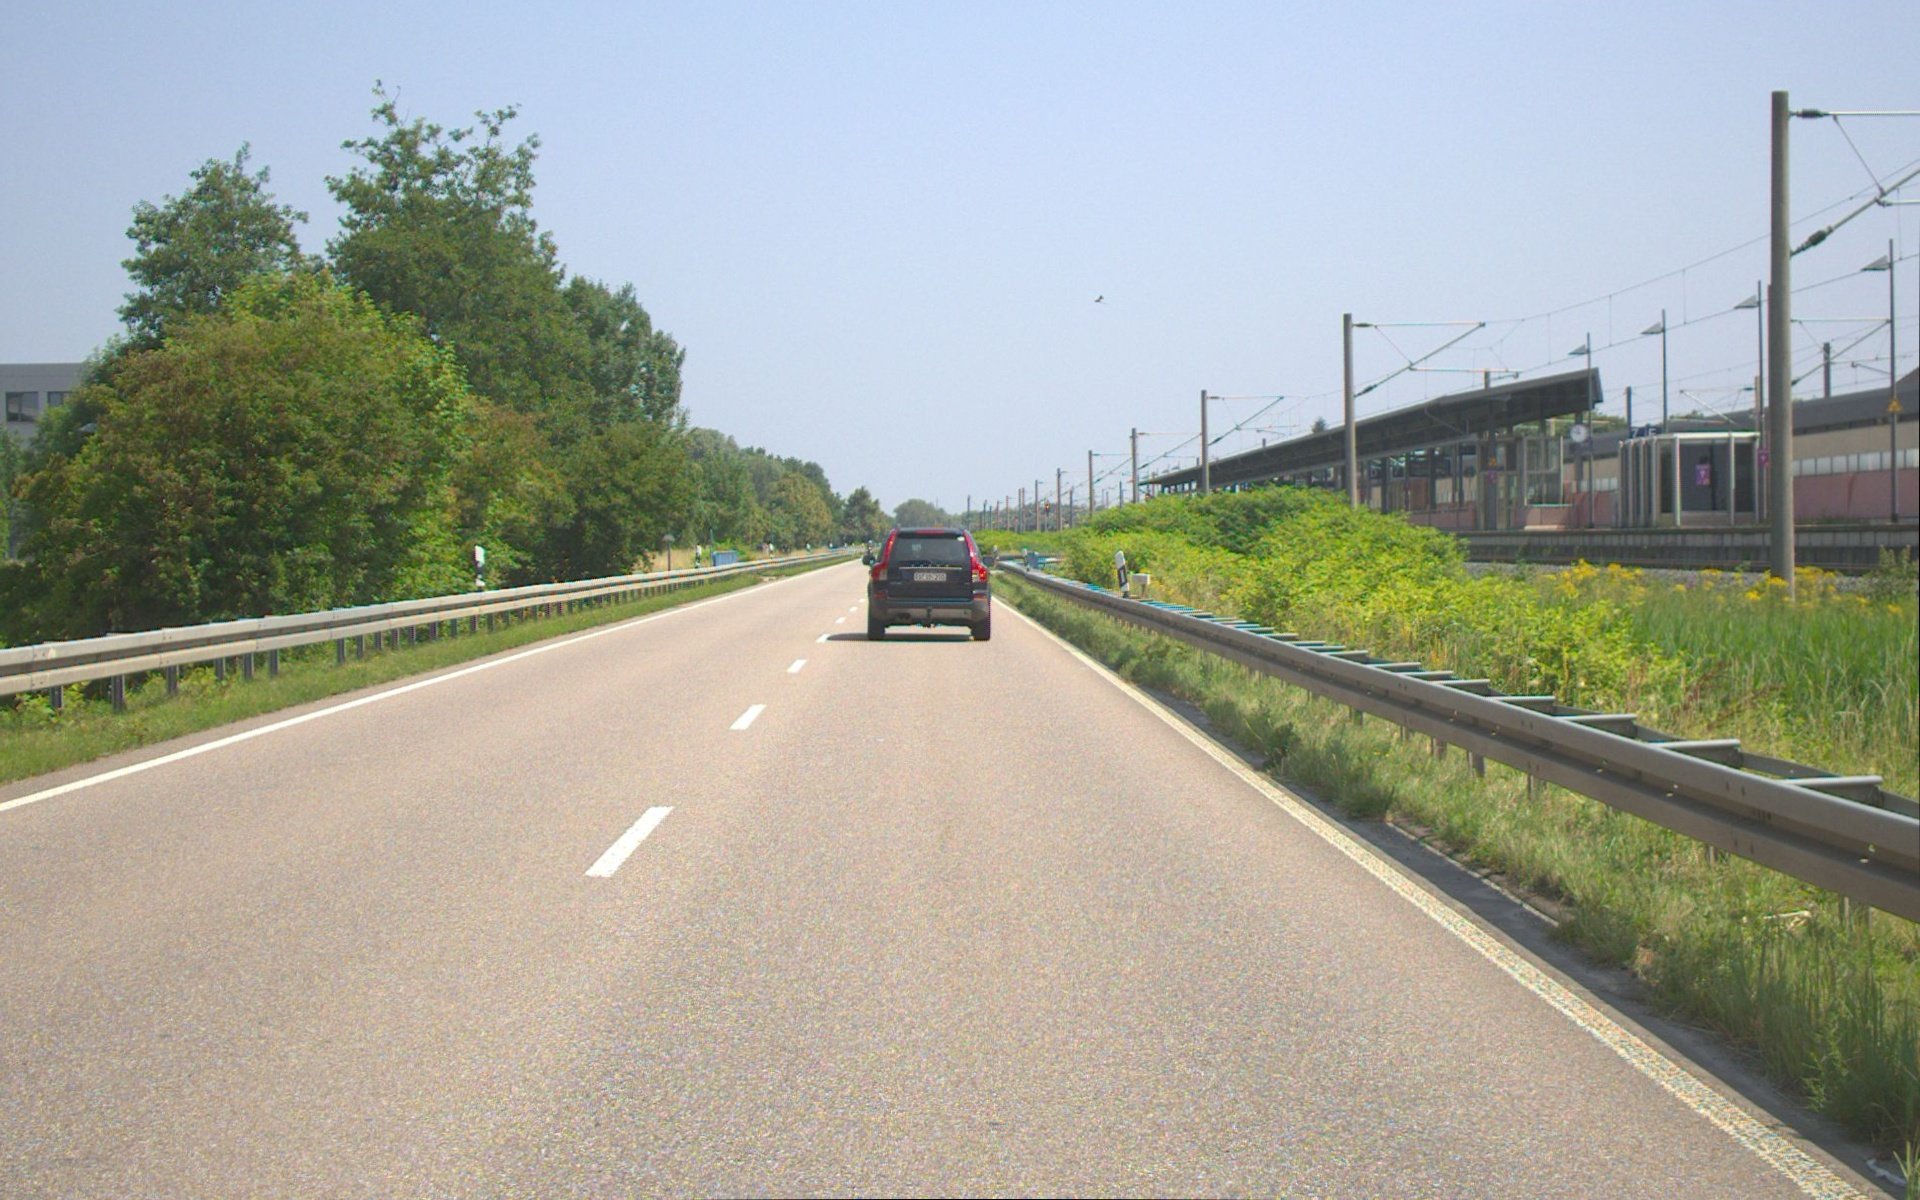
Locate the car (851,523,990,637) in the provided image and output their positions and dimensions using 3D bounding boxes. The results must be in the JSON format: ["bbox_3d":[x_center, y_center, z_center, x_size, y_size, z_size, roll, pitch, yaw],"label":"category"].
[{"bbox_3d":[-0.652,-0.334,53.178,1.993,1.694,4.001,0,1,-3],"label":"car"}]
